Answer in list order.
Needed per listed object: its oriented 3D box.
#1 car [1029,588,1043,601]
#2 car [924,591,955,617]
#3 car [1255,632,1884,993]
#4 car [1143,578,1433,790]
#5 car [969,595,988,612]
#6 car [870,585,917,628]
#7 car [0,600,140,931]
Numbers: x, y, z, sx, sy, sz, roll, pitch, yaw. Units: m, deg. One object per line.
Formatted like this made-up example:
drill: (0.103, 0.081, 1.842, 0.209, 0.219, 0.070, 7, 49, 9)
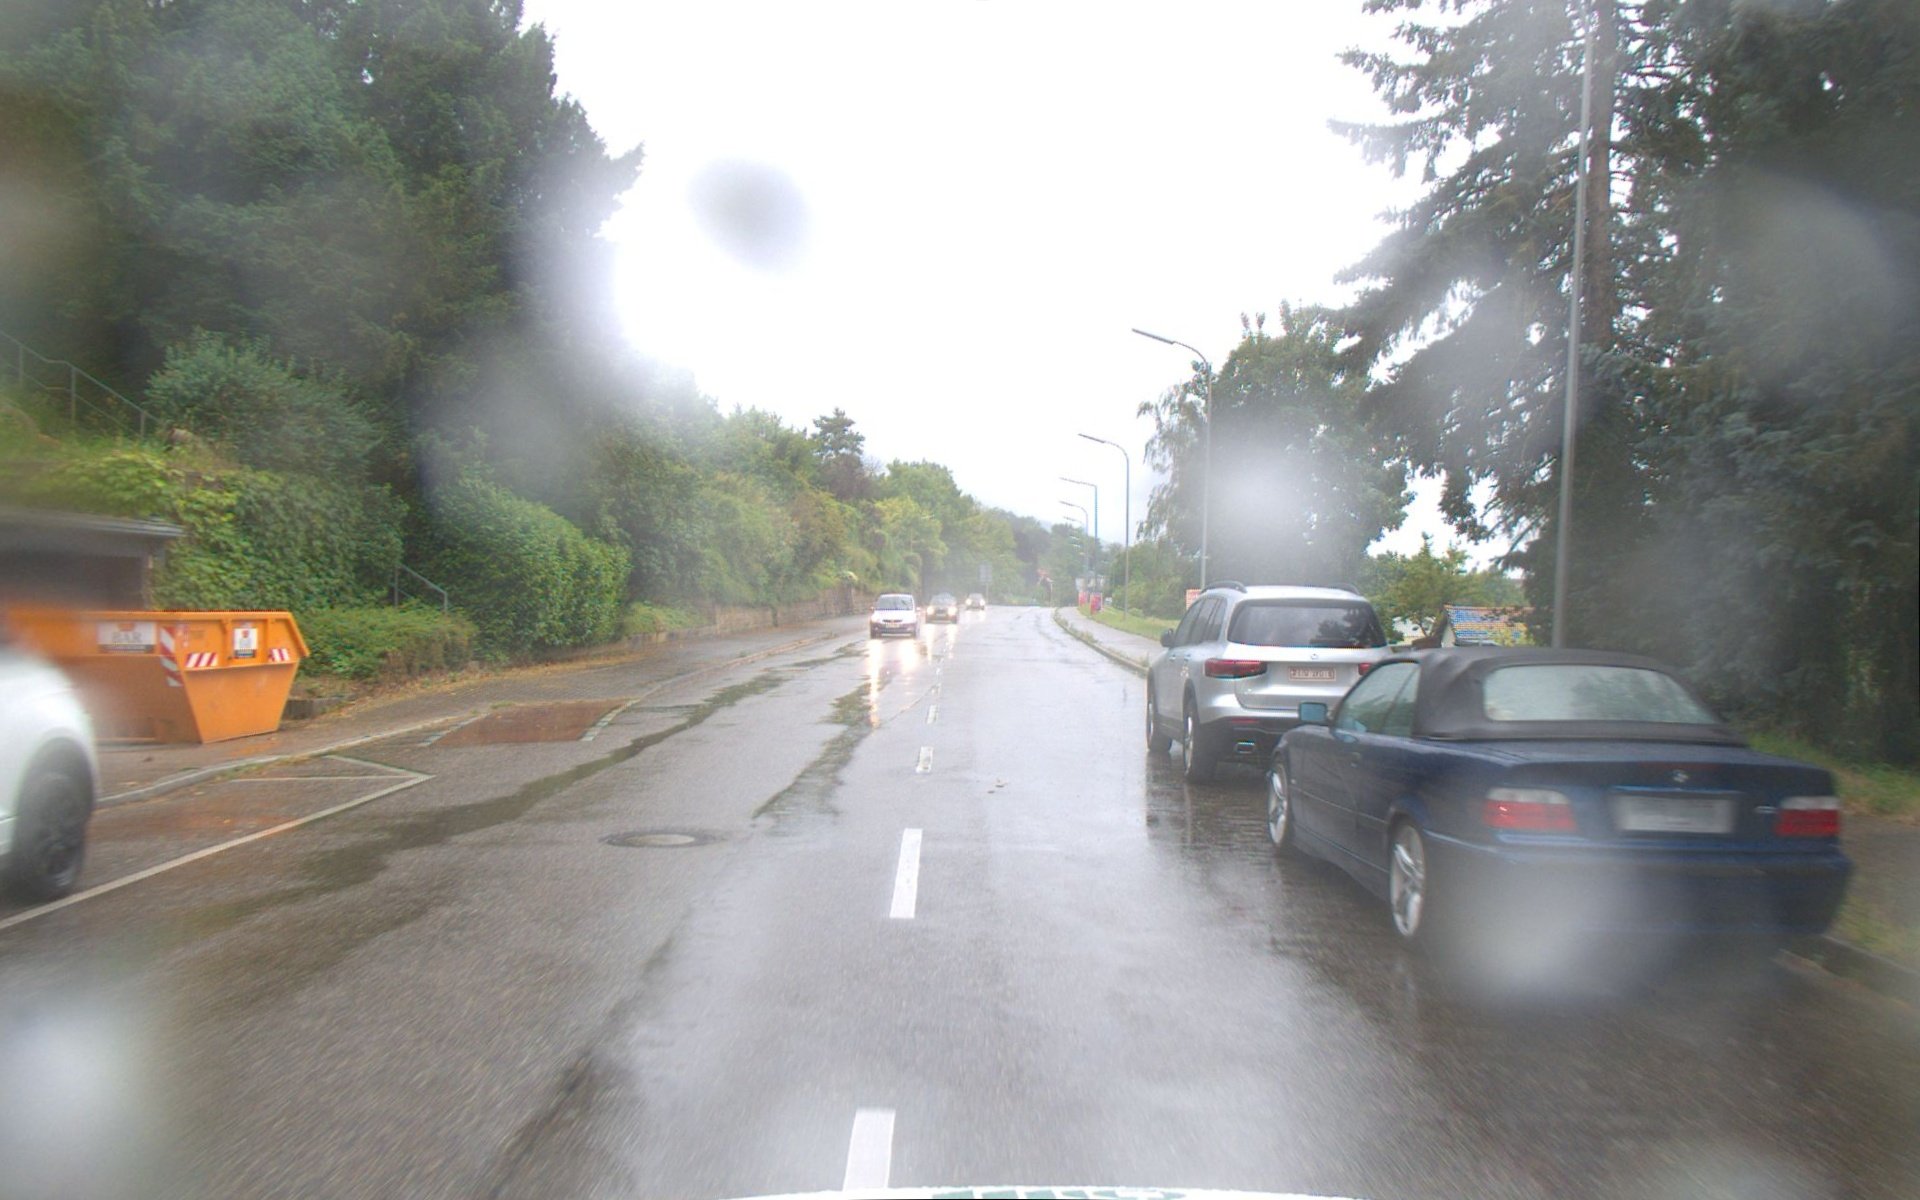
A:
car: (11.617, -0.833, 252.809, 1.952, 2.049, 4.001, 1, 0, 2)
car: (-1.078, 0.205, 87.549, 1.620, 1.375, 3.987, 0, 0, 0)
car: (2.738, 0.858, 8.568, 1.597, 1.304, 4.447, 0, 0, 0)
car: (2.831, 0.665, 15.258, 1.778, 1.674, 4.395, 0, 0, 0)
car: (1.650, 0.277, 150.690, 1.723, 1.522, 4.127, 0, 0, 0)
car: (-2.411, 0.226, 59.496, 1.629, 1.486, 3.660, 0, 0, -3)
car: (-5.260, 0.781, 6.907, 1.721, 1.524, 4.217, -1, 0, -3)
